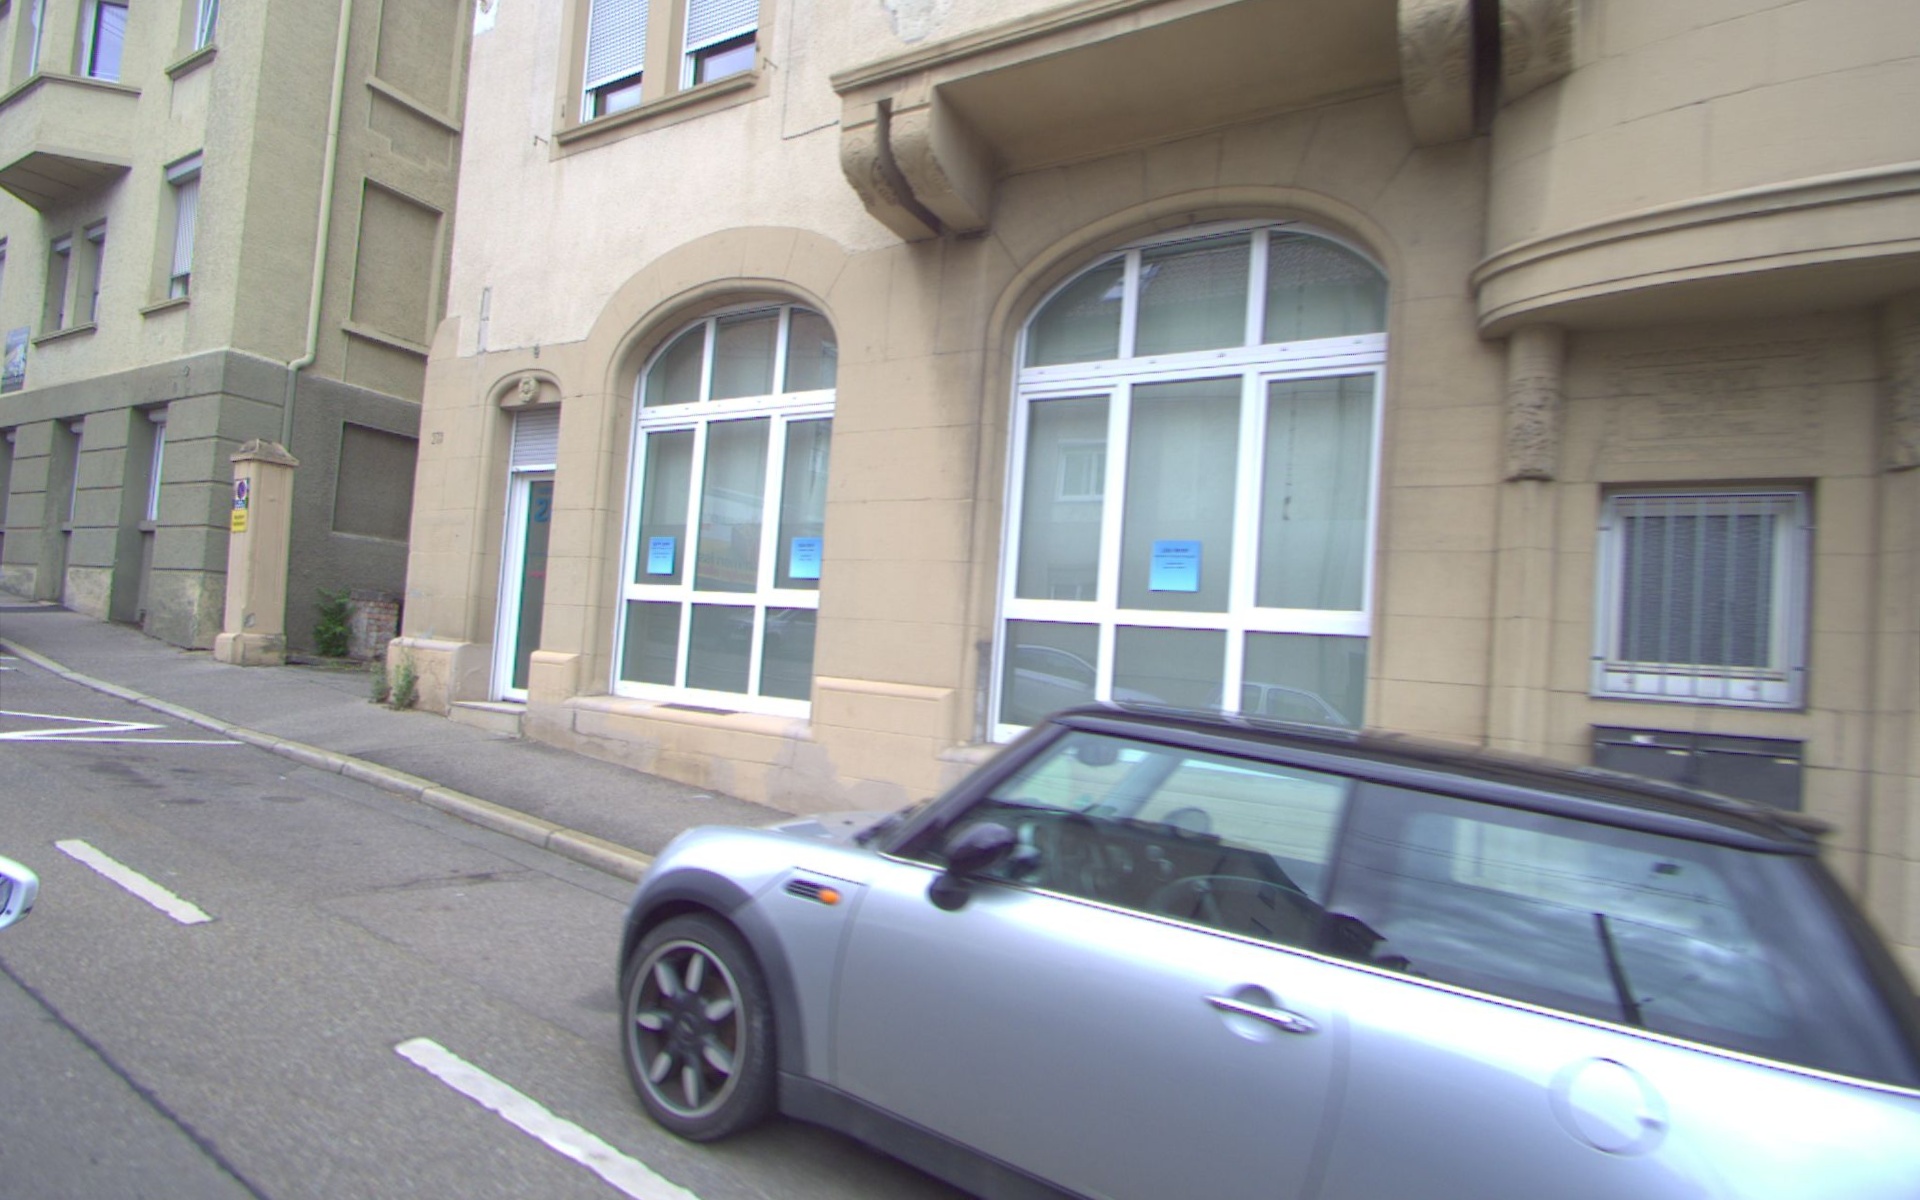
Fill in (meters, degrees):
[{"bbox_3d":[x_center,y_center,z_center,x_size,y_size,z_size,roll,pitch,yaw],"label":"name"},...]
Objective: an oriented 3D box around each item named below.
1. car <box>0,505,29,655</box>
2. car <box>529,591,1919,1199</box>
[{"bbox_3d":[-11.966,-0.515,10.760,3.961,1.535,1.833,7,-4,32],"label":"car"},{"bbox_3d":[0.703,0.972,2.925,3.607,1.419,1.700,7,-4,32],"label":"car"}]
